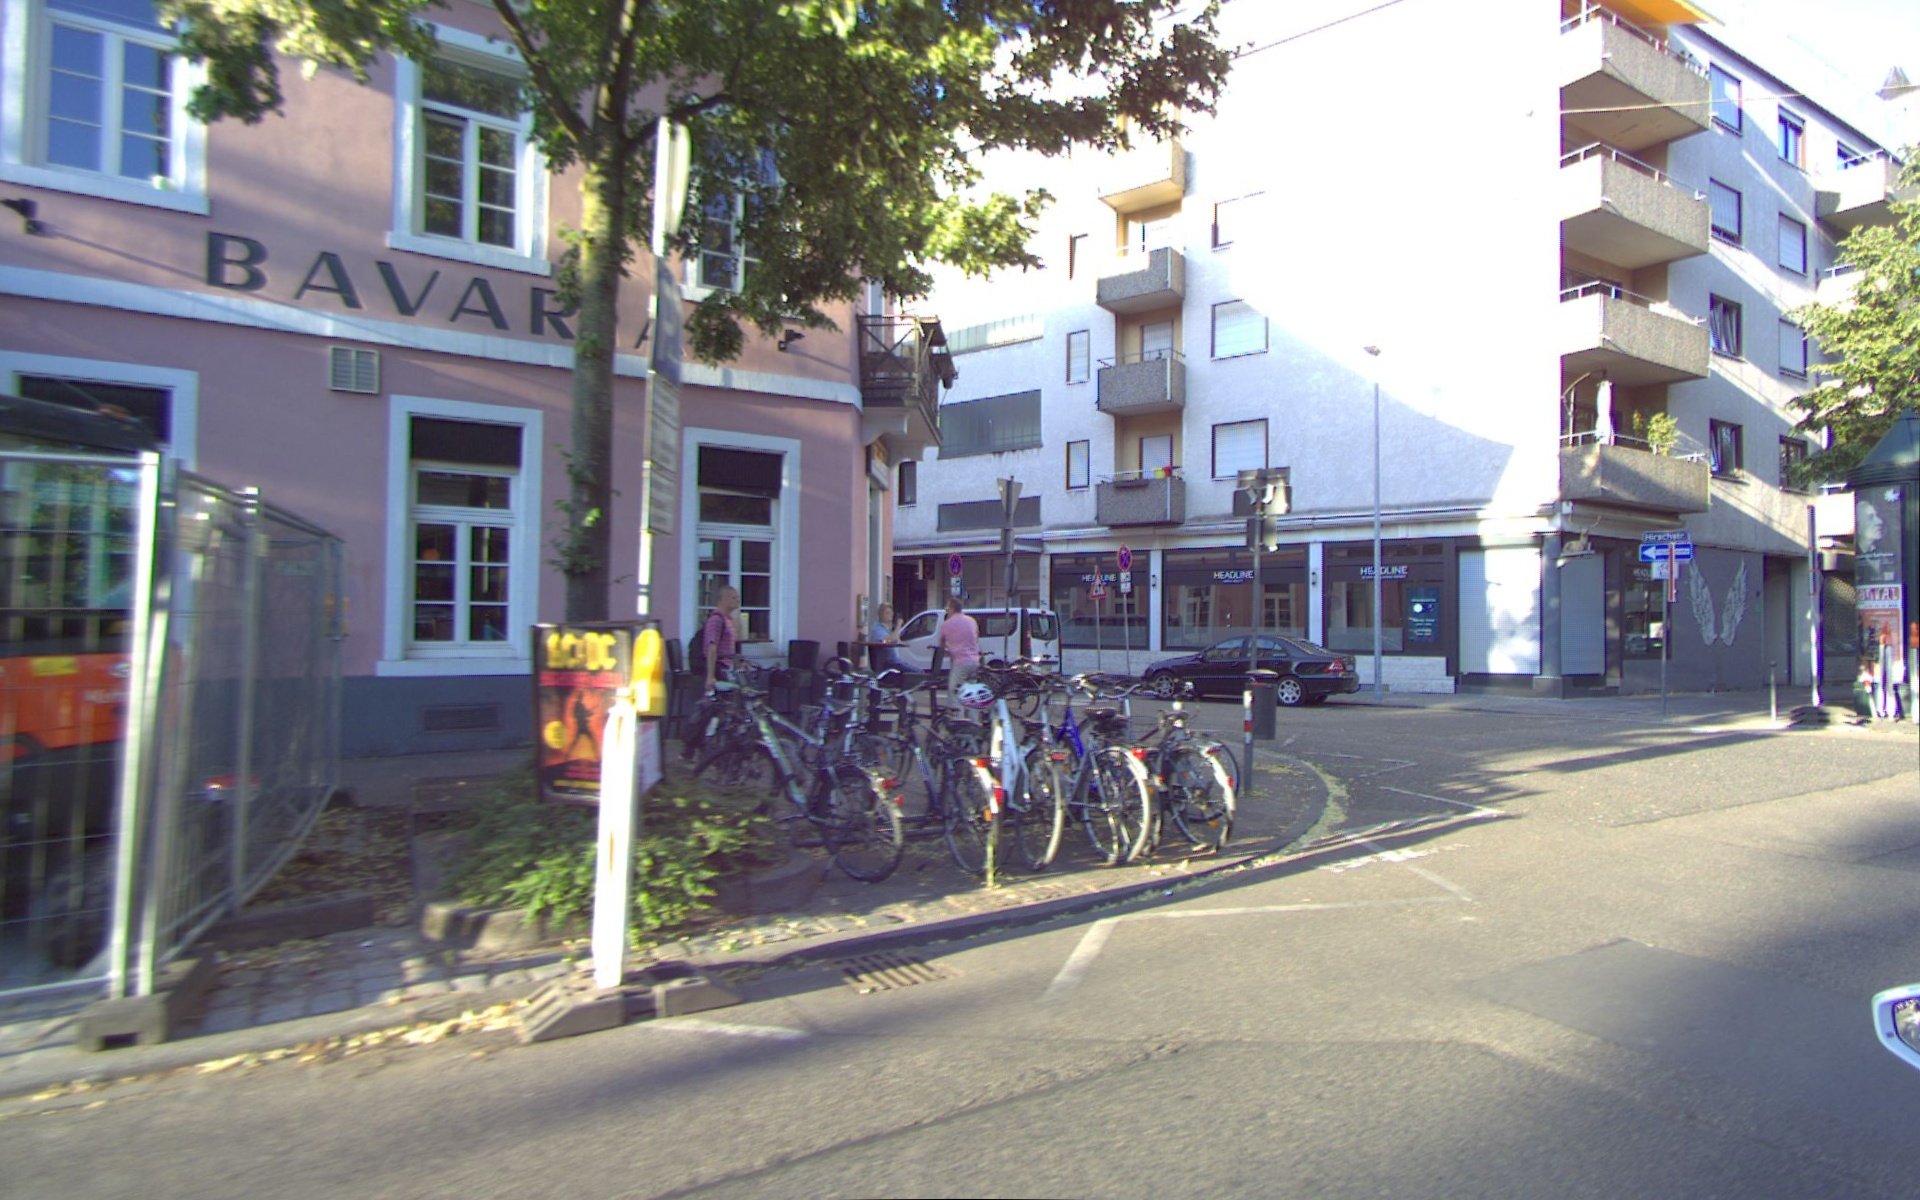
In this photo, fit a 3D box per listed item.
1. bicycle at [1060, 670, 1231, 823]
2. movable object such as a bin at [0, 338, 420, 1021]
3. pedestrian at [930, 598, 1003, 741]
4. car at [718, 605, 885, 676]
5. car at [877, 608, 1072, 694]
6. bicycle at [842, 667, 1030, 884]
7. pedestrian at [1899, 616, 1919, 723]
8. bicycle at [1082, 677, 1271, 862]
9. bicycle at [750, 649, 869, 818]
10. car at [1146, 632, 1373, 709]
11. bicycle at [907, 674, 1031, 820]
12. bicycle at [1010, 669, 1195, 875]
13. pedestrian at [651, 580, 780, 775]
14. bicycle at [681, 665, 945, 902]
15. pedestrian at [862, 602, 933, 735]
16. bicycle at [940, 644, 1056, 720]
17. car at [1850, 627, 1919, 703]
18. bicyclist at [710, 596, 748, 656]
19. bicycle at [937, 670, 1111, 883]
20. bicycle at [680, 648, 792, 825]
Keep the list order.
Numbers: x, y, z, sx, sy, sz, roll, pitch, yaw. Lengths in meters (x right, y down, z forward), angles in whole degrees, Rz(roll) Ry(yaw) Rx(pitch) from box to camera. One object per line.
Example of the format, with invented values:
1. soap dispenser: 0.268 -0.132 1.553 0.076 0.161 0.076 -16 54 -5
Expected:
1. bicycle: 1.518 1.175 8.424 0.466 1.073 1.476 2 -1 -35
2. movable object such as a bin: -6.094 0.311 5.232 5.638 2.528 2.315 0 -1 13
3. pedestrian: 0.090 0.871 12.745 0.715 1.760 0.500 4 -3 -40
4. car: -4.573 1.145 28.829 4.451 1.891 2.066 0 -3 33
5. car: 0.326 1.241 25.167 4.451 1.971 2.066 0 -3 33
6. bicycle: -0.213 1.051 6.536 0.439 1.093 1.674 2 0 -30
7. pedestrian: 15.798 1.121 16.169 0.821 1.708 0.709 1 -1 -21
8. bicycle: 1.508 1.156 7.303 0.438 1.035 1.679 2 0 -22
9. bicycle: -1.265 1.019 8.183 0.439 1.164 1.677 2 -1 -26
10. car: 6.233 1.406 21.063 4.142 1.398 1.992 -1 -2 38
11. bicycle: 0.044 1.148 8.179 0.439 0.993 1.320 2 -1 -26
12. bicycle: 0.910 1.096 6.886 0.438 1.093 1.679 2 0 -22
13. pedestrian: -2.363 0.720 9.823 0.802 1.789 1.040 0 -1 16
14. bicycle: -0.882 1.011 5.888 1.520 1.131 0.444 3 1 28
15. pedestrian: -0.812 0.888 13.085 0.715 1.672 0.500 4 -3 -40
16. bicycle: 0.645 1.390 17.294 1.906 1.208 0.585 0 -2 27
17. car: 21.446 1.392 20.560 1.790 1.562 4.524 2 -1 -31
18. bicyclist: -5.806 0.651 25.258 0.729 1.477 0.586 -1 0 19
19. bicycle: 0.365 1.088 6.697 0.438 1.093 1.679 2 0 -22
20. bicycle: -1.786 0.993 7.839 0.439 1.164 1.677 2 -1 -26
